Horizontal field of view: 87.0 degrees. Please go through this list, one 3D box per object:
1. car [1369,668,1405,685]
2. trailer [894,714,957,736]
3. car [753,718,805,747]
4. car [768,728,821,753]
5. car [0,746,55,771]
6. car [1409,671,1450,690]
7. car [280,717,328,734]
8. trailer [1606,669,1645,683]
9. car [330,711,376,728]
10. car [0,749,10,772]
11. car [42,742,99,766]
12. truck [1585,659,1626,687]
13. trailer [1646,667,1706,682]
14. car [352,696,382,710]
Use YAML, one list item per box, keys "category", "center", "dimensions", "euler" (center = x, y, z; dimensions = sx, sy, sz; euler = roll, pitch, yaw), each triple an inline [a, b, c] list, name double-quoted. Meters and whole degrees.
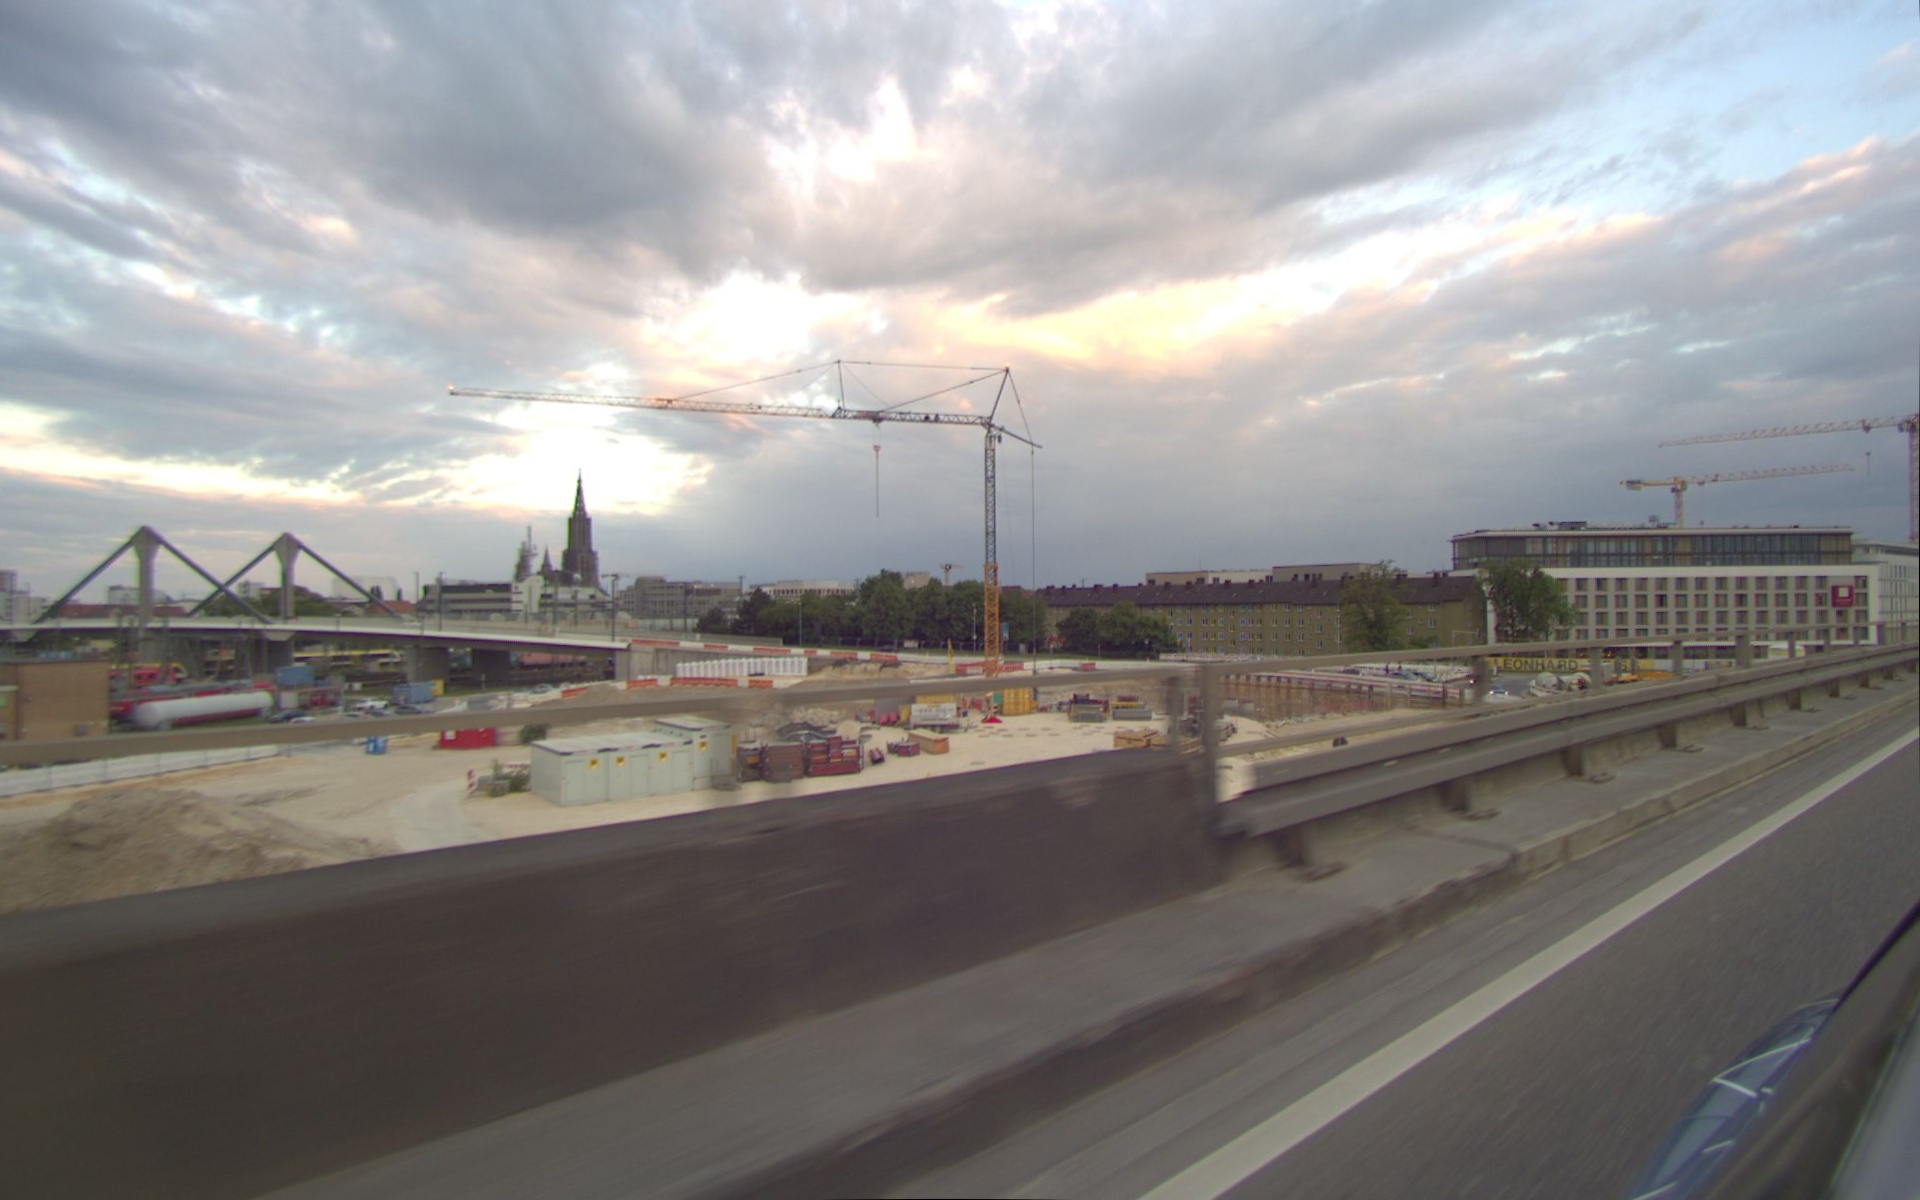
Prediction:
- category: "car"
  center: [50.052, 8.967, 118.639]
  dimensions: [1.611, 1.761, 3.800]
  euler: [-1, -2, -24]
- category: "trailer"
  center: [-2.460, 8.871, 72.038]
  dimensions: [4.163, 1.257, 1.787]
  euler: [-1, -2, -12]
- category: "car"
  center: [-14.445, 10.540, 80.584]
  dimensions: [3.917, 1.948, 1.687]
  euler: [-3, -6, -12]
- category: "car"
  center: [-12.052, 10.232, 73.648]
  dimensions: [3.718, 1.461, 1.530]
  euler: [-3, -6, -12]
- category: "car"
  center: [-76.571, 12.988, 82.910]
  dimensions: [3.946, 1.674, 1.859]
  euler: [-6, -6, 18]
- category: "car"
  center: [55.431, 9.480, 119.594]
  dimensions: [1.767, 1.741, 4.107]
  euler: [-3, 1, -27]
- category: "car"
  center: [-69.131, 13.189, 106.695]
  dimensions: [4.279, 1.540, 1.863]
  euler: [-2, -1, 14]
- category: "trailer"
  center: [79.945, 9.133, 121.528]
  dimensions: [5.764, 1.366, 1.997]
  euler: [1, -7, -38]
- category: "car"
  center: [-66.785, 13.168, 111.342]
  dimensions: [4.279, 1.540, 1.863]
  euler: [-2, -1, 14]
- category: "car"
  center: [-78.003, 12.916, 80.512]
  dimensions: [3.946, 1.738, 1.859]
  euler: [-6, -6, 18]
- category: "car"
  center: [-75.213, 13.036, 85.577]
  dimensions: [3.946, 1.674, 1.859]
  euler: [-6, -6, 18]
- category: "truck"
  center: [74.321, 8.386, 116.421]
  dimensions: [7.212, 2.987, 2.159]
  euler: [2, -4, -43]
- category: "trailer"
  center: [86.237, 8.959, 121.953]
  dimensions: [5.832, 1.365, 2.002]
  euler: [0, 0, 34]
- category: "car"
  center: [-75.756, 13.177, 129.314]
  dimensions: [1.415, 1.597, 3.673]
  euler: [-5, -5, 8]
